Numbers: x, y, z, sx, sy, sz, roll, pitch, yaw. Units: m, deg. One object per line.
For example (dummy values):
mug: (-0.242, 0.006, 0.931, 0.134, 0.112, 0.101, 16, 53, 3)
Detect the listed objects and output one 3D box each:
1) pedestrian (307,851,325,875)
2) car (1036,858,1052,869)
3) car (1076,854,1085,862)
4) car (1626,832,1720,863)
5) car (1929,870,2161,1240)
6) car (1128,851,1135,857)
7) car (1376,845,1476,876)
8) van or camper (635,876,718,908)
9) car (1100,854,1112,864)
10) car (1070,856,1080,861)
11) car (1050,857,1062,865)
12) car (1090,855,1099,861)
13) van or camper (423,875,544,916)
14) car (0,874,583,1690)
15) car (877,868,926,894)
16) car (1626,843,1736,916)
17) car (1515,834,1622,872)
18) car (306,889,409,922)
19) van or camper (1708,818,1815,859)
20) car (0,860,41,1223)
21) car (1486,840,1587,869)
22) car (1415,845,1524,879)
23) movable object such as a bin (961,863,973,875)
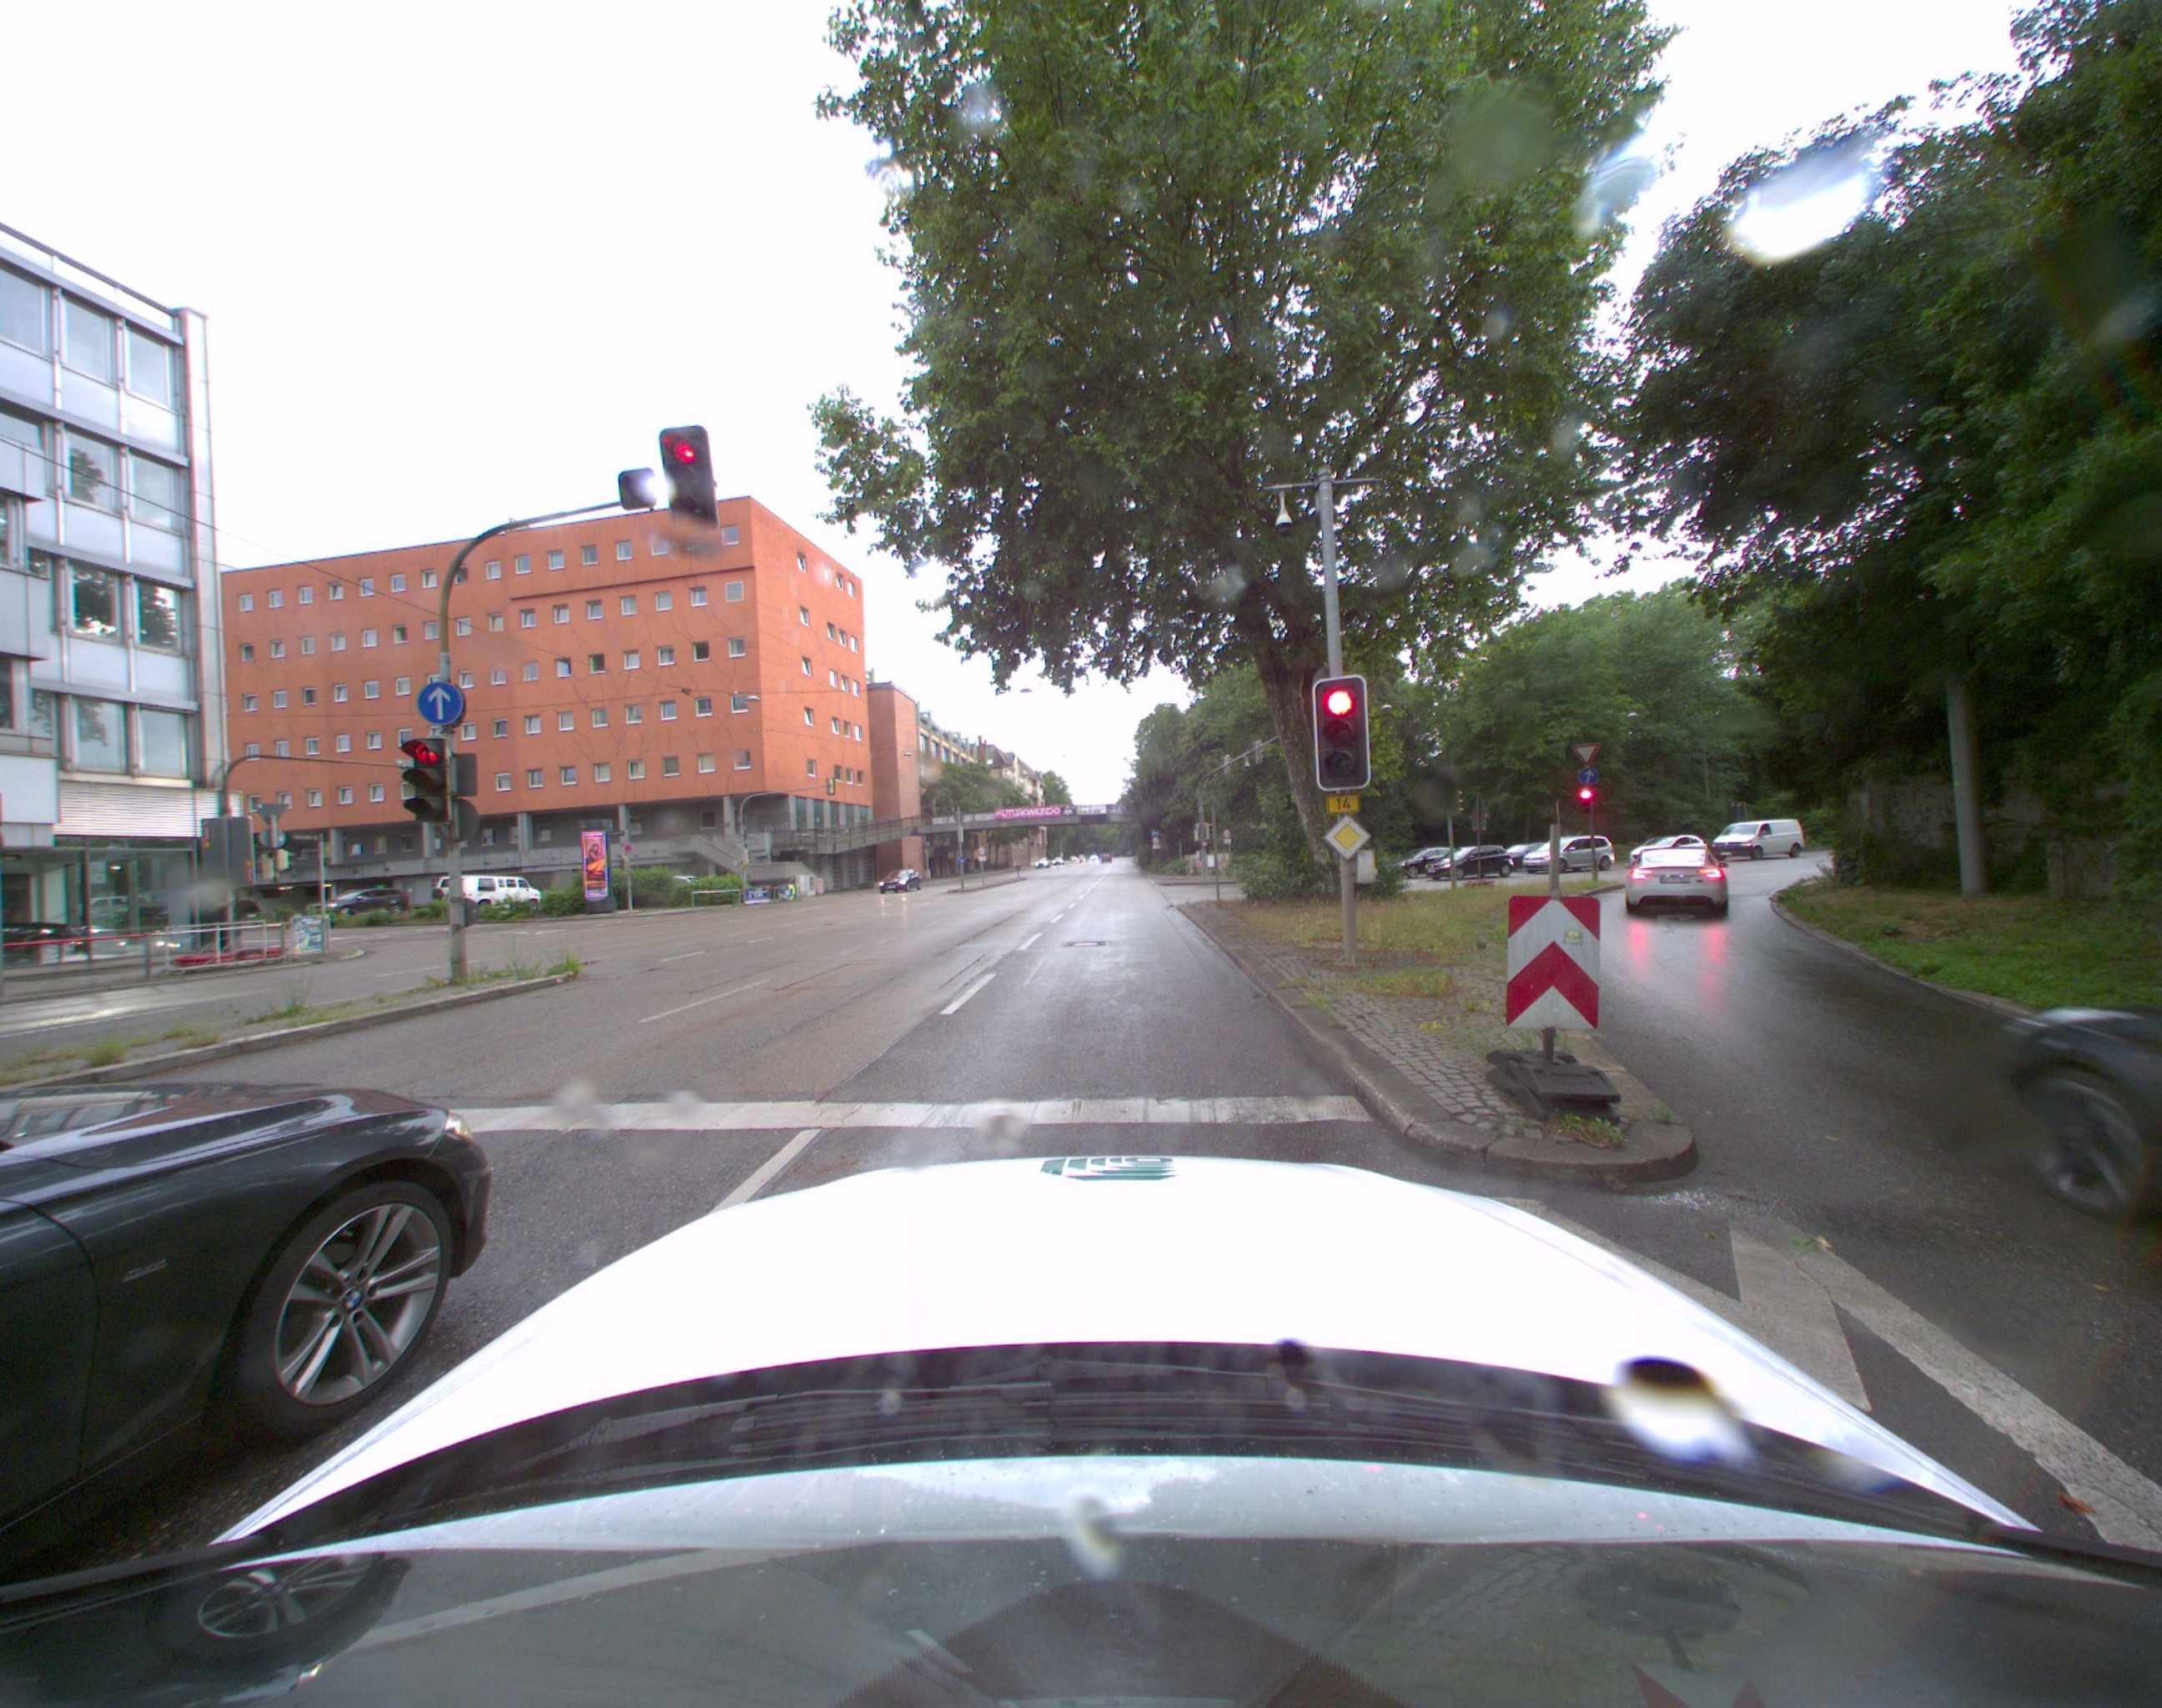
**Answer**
pedestrian: (-60.871, 0.708, 64.765, 0.757, 1.839, 0.727, -1, -1, 11)
car: (-5.746, 1.407, 126.230, 1.881, 1.610, 4.461, -3, -1, 4)
car: (-0.069, 0.825, 168.908, 1.676, 1.436, 3.865, -3, -1, 3)
car: (28.847, -0.292, 39.722, 3.857, 1.461, 1.650, 0, -1, -14)
car: (4.791, 0.815, 1.945, 1.736, 1.403, 4.431, 1, 1, 14)
car: (13.518, 0.032, 216.886, 1.834, 1.453, 3.781, 0, -1, 4)
car: (16.840, 0.320, 39.806, 4.205, 1.440, 1.941, 0, -1, -14)
van or camper: (-24.183, 2.264, 48.800, 3.965, 1.627, 1.918, -3, 0, 8)
car: (4.259, 0.917, 139.938, 1.998, 1.643, 4.376, -3, 0, 0)
car: (-1.905, 1.357, 247.869, 1.608, 1.499, 3.683, -4, -1, -23)
car: (-4.641, 1.284, 151.520, 1.701, 1.464, 4.047, -3, -1, 5)
car: (3.393, 0.989, 202.433, 1.823, 1.393, 4.409, -4, -1, 3)
van or camper: (-32.819, 2.232, 45.014, 2.113, 1.977, 5.466, 0, -1, 9)
car: (-2.919, 0.837, 0.892, 1.769, 1.458, 4.480, -3, -1, 3)
car: (-11.269, 1.663, 51.354, 1.677, 1.419, 4.221, -4, -1, 5)
car: (14.029, 0.498, 19.147, 1.834, 1.448, 4.648, 2, 2, 36)
car: (22.622, -0.040, 37.833, 4.203, 1.680, 1.898, 0, -1, -14)
car: (-40.244, 2.828, 45.410, 1.699, 1.612, 4.097, -1, -1, 9)
van or camper: (34.733, -0.806, 41.589, 4.863, 1.947, 1.895, -1, -1, -18)
car: (-5.996, 0.848, 1.687, 1.801, 1.656, 4.449, 0, -1, 4)
car: (23.031, 0.042, 41.246, 4.438, 1.402, 1.821, 0, -1, -14)
car: (17.164, 0.347, 36.033, 4.192, 1.460, 1.784, 0, -1, -14)
movable object such as a bin: (-15.113, 1.952, 107.676, 1.277, 1.518, 1.274, -3, 0, 3)
